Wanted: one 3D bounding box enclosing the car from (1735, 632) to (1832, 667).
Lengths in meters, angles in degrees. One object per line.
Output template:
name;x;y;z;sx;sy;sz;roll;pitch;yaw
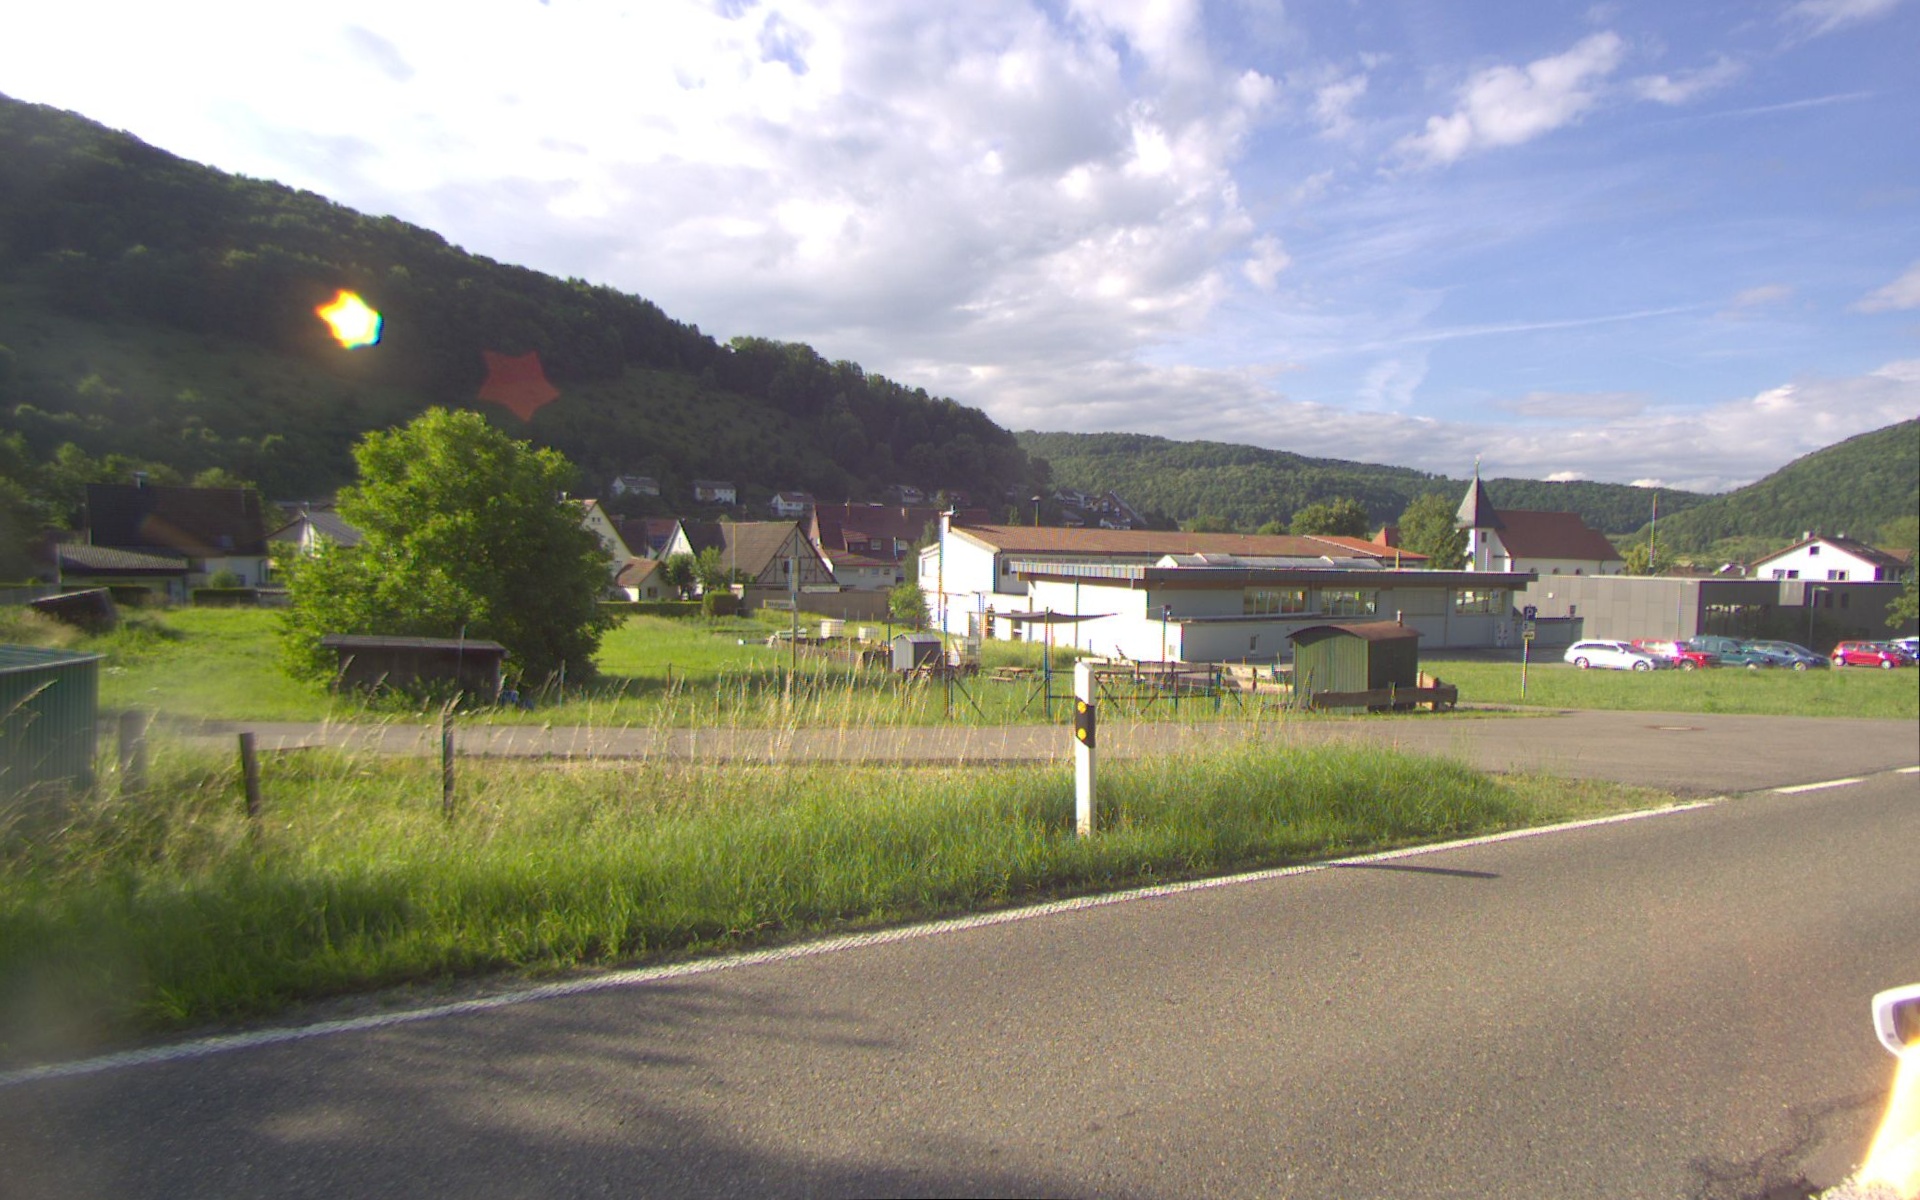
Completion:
car;45.546;2.717;55.641;1.709;1.744;3.806;1;-1;-25

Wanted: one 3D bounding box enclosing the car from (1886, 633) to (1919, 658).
car;61.679;2.928;63.952;1.575;1.513;3.656;2;-1;-24

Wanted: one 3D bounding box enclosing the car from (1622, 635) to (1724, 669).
car;36.346;2.623;51.278;1.732;1.600;3.907;1;-1;-25

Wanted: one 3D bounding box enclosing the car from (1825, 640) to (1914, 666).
car;54.447;3.139;60.209;1.626;1.463;3.614;1;-1;-24

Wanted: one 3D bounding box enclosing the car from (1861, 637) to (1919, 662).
car;58.826;3.089;62.608;1.575;1.423;3.614;4;-2;-24

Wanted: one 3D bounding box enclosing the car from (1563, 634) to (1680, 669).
car;33.365;2.568;50.834;1.973;1.610;4.626;1;-1;-25

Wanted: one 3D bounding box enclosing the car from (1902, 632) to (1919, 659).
car;64.430;3.016;65.540;1.575;1.695;4.066;-1;0;-24

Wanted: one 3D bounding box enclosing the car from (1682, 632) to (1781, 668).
car;41.308;2.651;53.842;1.734;1.745;3.846;1;0;-27
